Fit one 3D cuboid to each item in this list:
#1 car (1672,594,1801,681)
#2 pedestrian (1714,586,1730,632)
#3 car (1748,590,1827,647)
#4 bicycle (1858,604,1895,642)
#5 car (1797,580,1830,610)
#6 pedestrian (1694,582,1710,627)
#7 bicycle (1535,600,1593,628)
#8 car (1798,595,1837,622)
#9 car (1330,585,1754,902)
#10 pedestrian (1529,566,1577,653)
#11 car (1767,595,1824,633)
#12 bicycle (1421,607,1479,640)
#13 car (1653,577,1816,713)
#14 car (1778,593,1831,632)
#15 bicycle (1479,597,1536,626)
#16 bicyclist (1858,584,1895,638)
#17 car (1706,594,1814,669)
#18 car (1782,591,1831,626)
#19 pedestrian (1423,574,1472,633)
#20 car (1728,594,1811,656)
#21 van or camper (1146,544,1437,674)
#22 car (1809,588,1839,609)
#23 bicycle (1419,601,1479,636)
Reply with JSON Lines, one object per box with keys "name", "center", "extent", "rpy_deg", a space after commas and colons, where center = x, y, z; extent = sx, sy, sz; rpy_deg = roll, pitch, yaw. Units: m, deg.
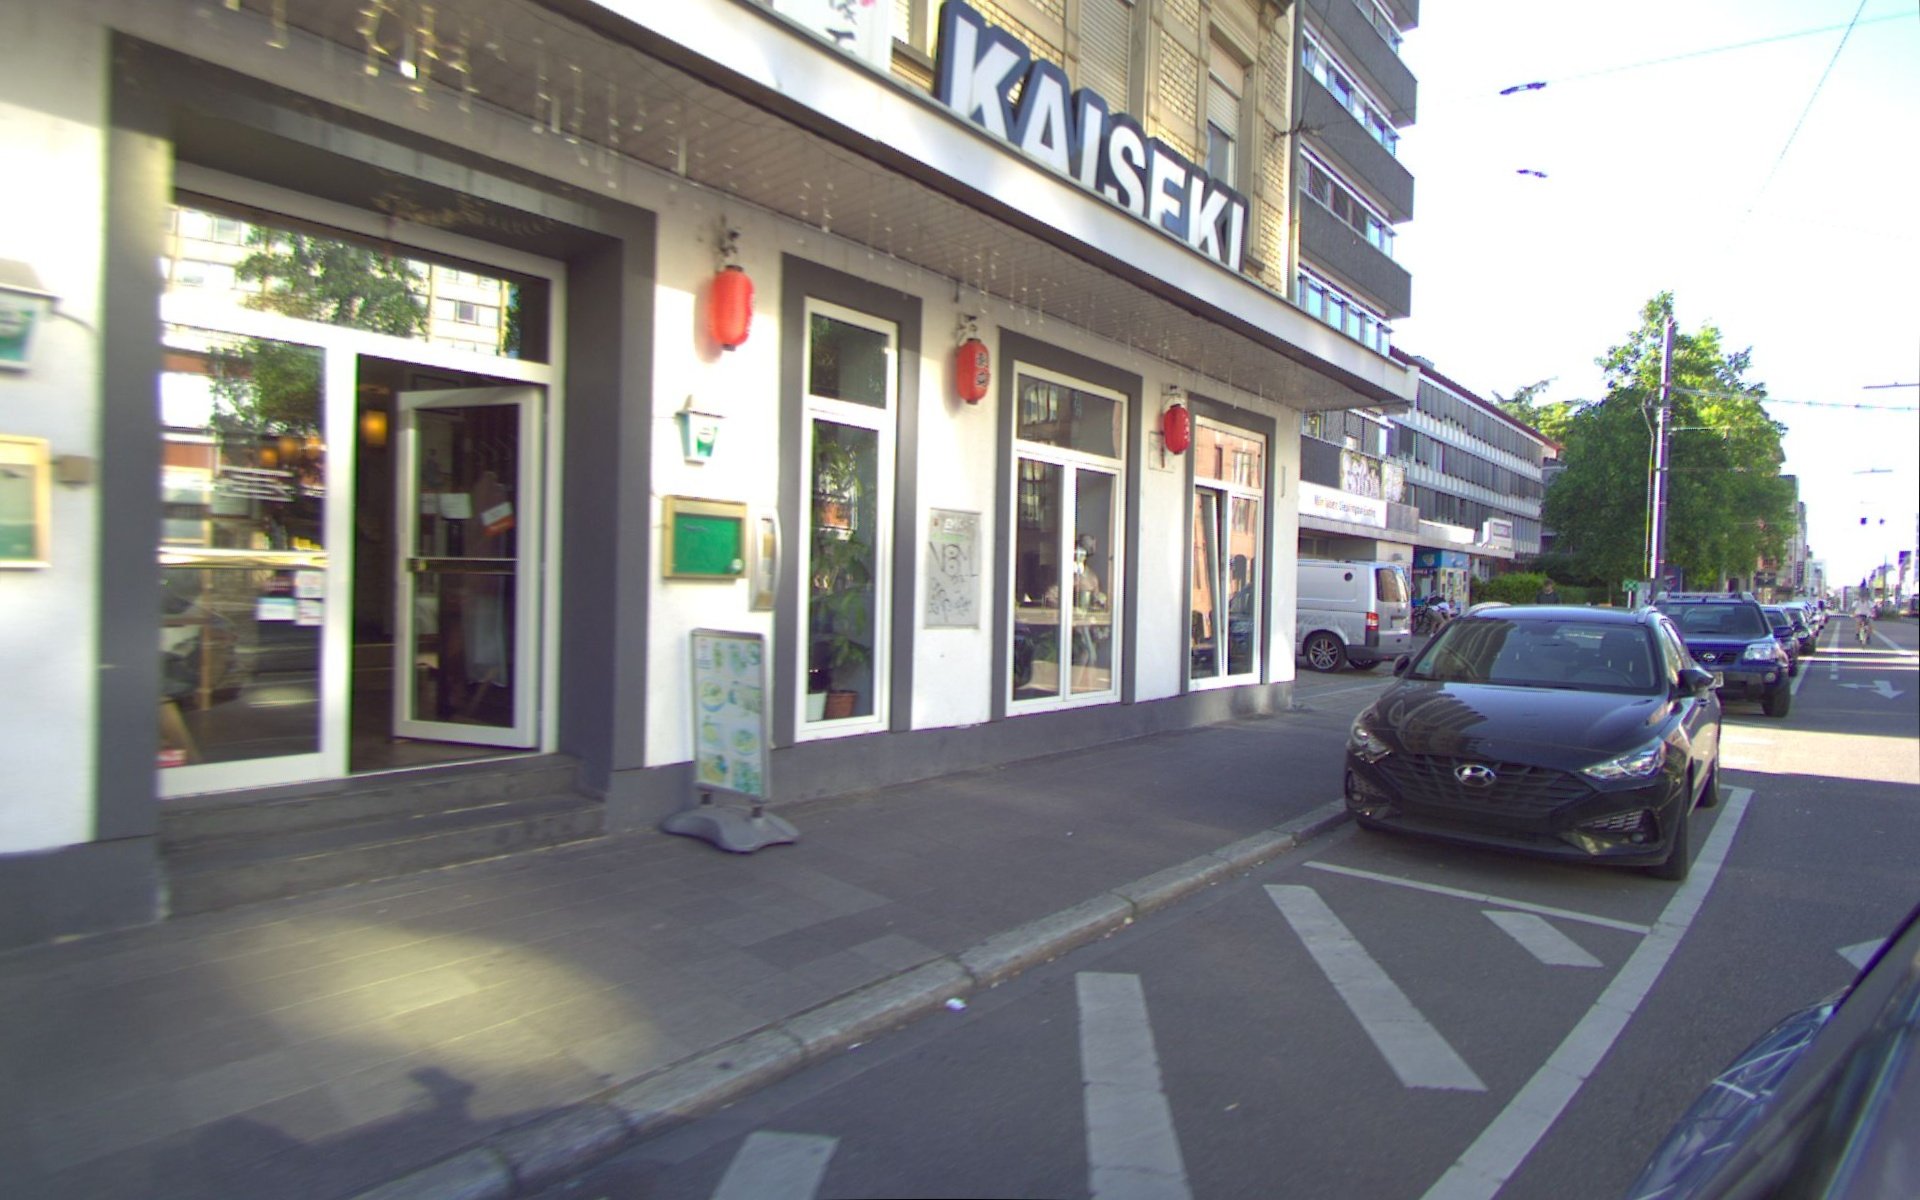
{"name": "car", "center": [14.939, 0.642, 19.405], "extent": [1.712, 1.473, 3.722], "rpy_deg": [-1, 0, 41]}
{"name": "pedestrian", "center": [34.254, 0.403, 45.502], "extent": [0.506, 2.039, 0.566], "rpy_deg": [-1, 0, 42]}
{"name": "car", "center": [25.718, 0.517, 31.380], "extent": [1.727, 1.501, 4.856], "rpy_deg": [-1, 1, 41]}
{"name": "bicycle", "center": [30.990, 0.767, 34.233], "extent": [0.886, 1.176, 2.047], "rpy_deg": [-1, 1, 42]}
{"name": "car", "center": [61.060, -0.362, 72.406], "extent": [1.727, 2.075, 4.055], "rpy_deg": [-1, 1, 41]}
{"name": "pedestrian", "center": [33.670, 0.195, 45.921], "extent": [0.506, 2.039, 0.566], "rpy_deg": [-1, 0, 42]}
{"name": "bicycle", "center": [22.670, 0.523, 38.010], "extent": [1.807, 0.933, 0.400], "rpy_deg": [4, 3, 40]}
{"name": "car", "center": [52.492, 0.485, 61.916], "extent": [1.727, 1.501, 4.055], "rpy_deg": [-1, 1, 41]}
{"name": "car", "center": [4.171, 0.663, 6.873], "extent": [1.688, 1.469, 4.294], "rpy_deg": [-1, 0, 41]}
{"name": "pedestrian", "center": [13.523, 0.207, 23.076], "extent": [0.684, 1.935, 1.046], "rpy_deg": [-1, 0, 45]}
{"name": "car", "center": [34.332, 0.542, 41.608], "extent": [1.726, 1.502, 3.808], "rpy_deg": [-1, 0, 40]}
{"name": "bicycle", "center": [15.235, 0.708, 31.503], "extent": [1.570, 0.933, 0.334], "rpy_deg": [3, 2, 42]}
{"name": "car", "center": [11.490, 0.565, 15.273], "extent": [1.684, 1.735, 4.558], "rpy_deg": [-1, 0, 34]}
{"name": "car", "center": [37.757, 0.518, 45.230], "extent": [1.727, 1.597, 4.055], "rpy_deg": [-1, 0, 41]}
{"name": "bicycle", "center": [20.926, 0.437, 38.692], "extent": [1.802, 0.977, 0.564], "rpy_deg": [5, 4, 43]}
{"name": "bicyclist", "center": [30.966, 0.350, 34.220], "extent": [0.892, 1.788, 1.014], "rpy_deg": [-1, 0, 42]}
{"name": "car", "center": [18.130, 0.643, 22.857], "extent": [1.696, 1.502, 4.164], "rpy_deg": [-1, 0, 41]}
{"name": "car", "center": [41.343, 0.397, 49.482], "extent": [1.725, 1.615, 4.058], "rpy_deg": [-1, 0, 39]}
{"name": "pedestrian", "center": [14.780, 0.092, 30.694], "extent": [1.010, 1.667, 0.902], "rpy_deg": [7, 5, 43]}
{"name": "car", "center": [21.657, 0.615, 27.031], "extent": [1.569, 1.502, 3.505], "rpy_deg": [-1, 0, 41]}
{"name": "van or camper", "center": [6.006, 0.058, 18.802], "extent": [1.967, 1.956, 4.699], "rpy_deg": [0, 4, -44]}
{"name": "car", "center": [67.853, -0.112, 79.482], "extent": [1.727, 1.501, 4.191], "rpy_deg": [-1, 1, 41]}
{"name": "bicycle", "center": [14.982, 0.549, 31.025], "extent": [1.571, 0.932, 0.334], "rpy_deg": [6, 5, 42]}
